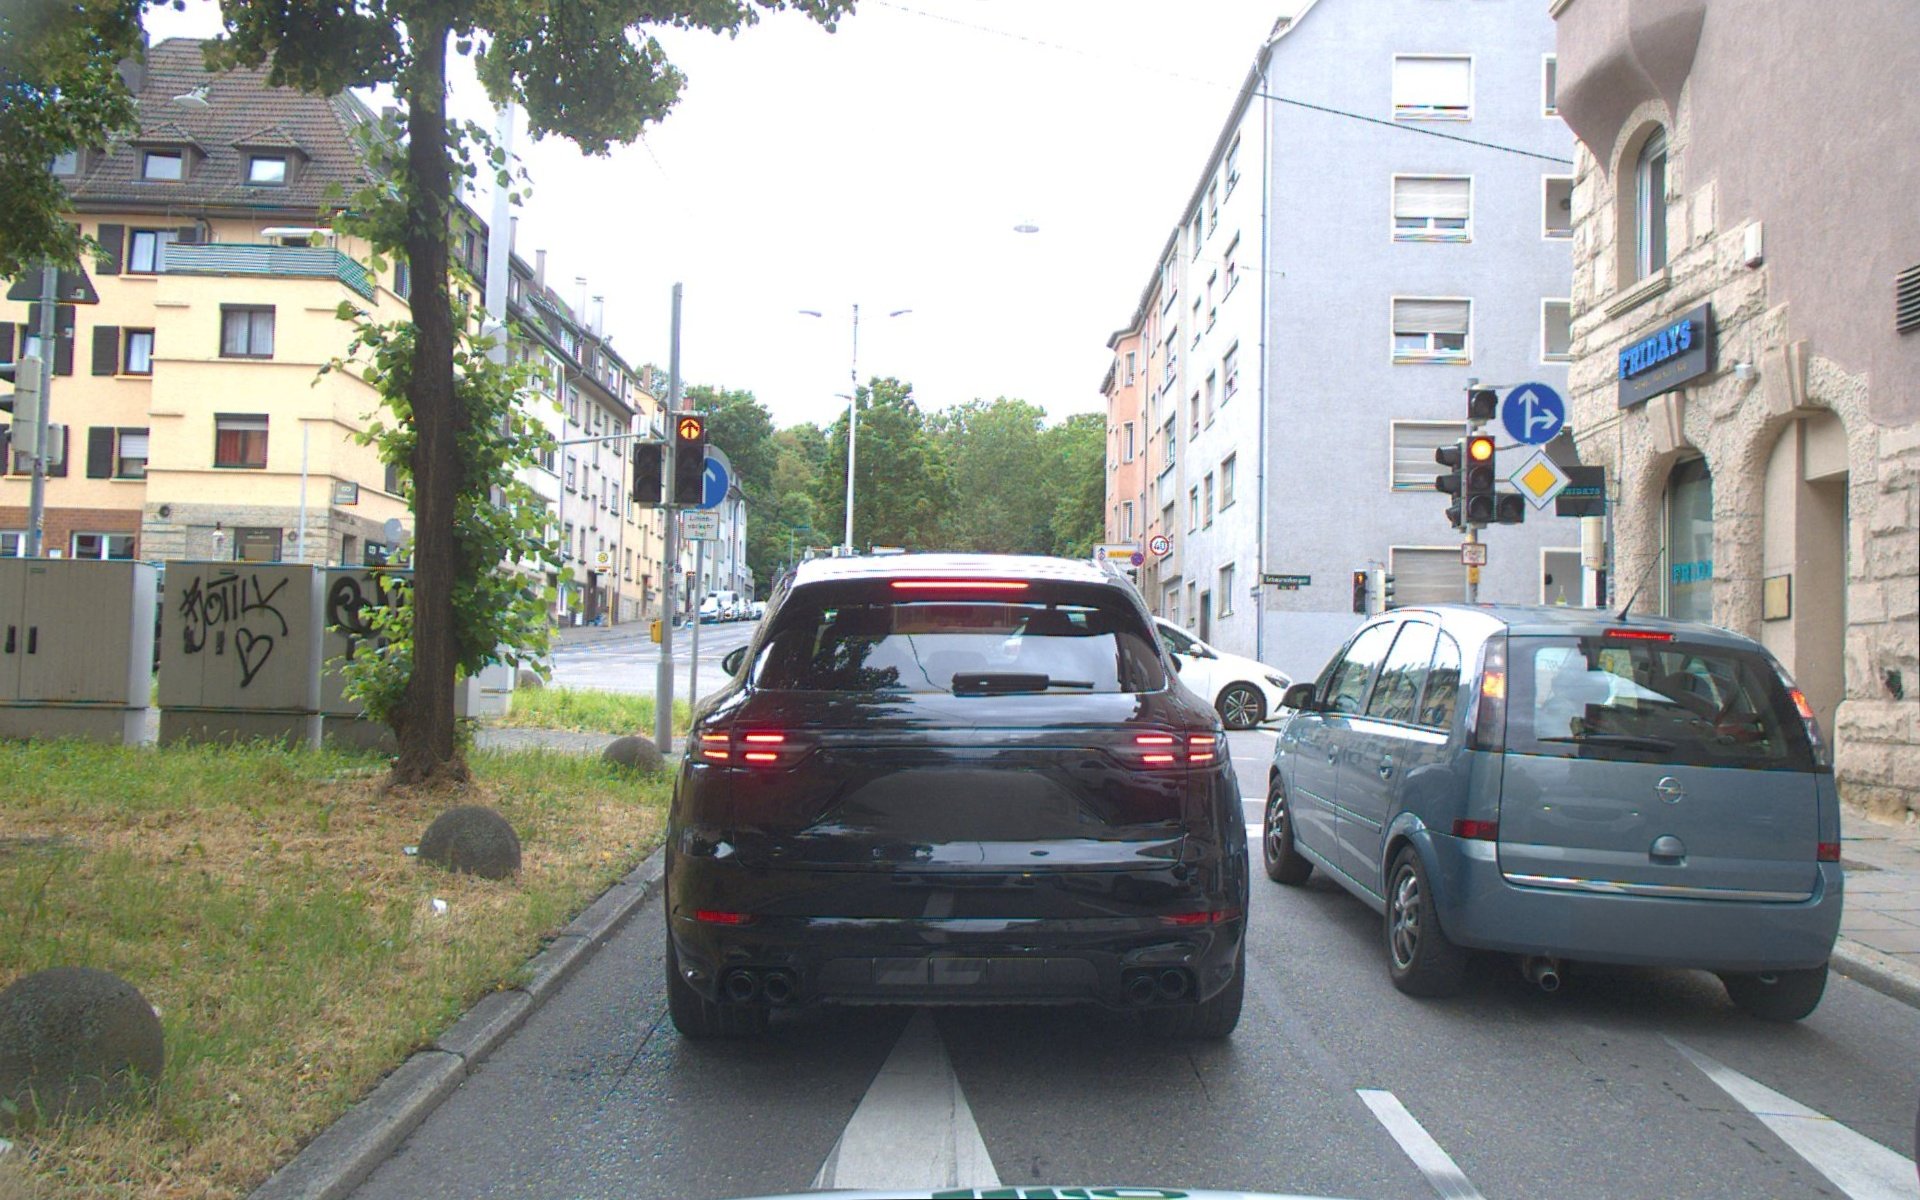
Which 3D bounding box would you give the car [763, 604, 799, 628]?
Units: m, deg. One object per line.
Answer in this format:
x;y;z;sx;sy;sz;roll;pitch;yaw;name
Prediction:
-11.936;1.070;110.601;1.806;1.512;3.899;1;0;2;car

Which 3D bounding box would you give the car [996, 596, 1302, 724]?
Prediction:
2.671;0.864;23.983;4.165;1.622;1.690;2;-2;-2;car

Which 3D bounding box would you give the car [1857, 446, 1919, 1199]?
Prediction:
2.902;0.662;1.041;1.936;1.806;4.674;4;0;-2;car

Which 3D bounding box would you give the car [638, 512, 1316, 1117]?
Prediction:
0.025;0.615;6.689;1.916;1.704;3.999;0;0;-1;car

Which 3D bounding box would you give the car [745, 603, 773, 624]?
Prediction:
-15.154;0.997;124.700;1.655;1.565;3.813;1;0;0;car

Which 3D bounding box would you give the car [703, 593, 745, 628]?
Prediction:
-14.824;0.658;104.317;1.975;2.081;4.666;1;0;0;car

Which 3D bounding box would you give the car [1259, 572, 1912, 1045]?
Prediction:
2.630;0.773;7.893;1.596;1.625;3.668;4;0;-1;car

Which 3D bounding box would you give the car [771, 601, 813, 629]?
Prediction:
-8.934;0.789;88.176;1.824;1.412;4.094;1;0;0;car

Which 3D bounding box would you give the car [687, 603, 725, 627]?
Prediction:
-15.128;0.881;98.649;1.703;1.411;3.813;1;0;0;car

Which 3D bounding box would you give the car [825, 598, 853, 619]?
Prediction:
-9.767;0.699;134.091;1.933;1.638;4.557;1;0;-1;car
